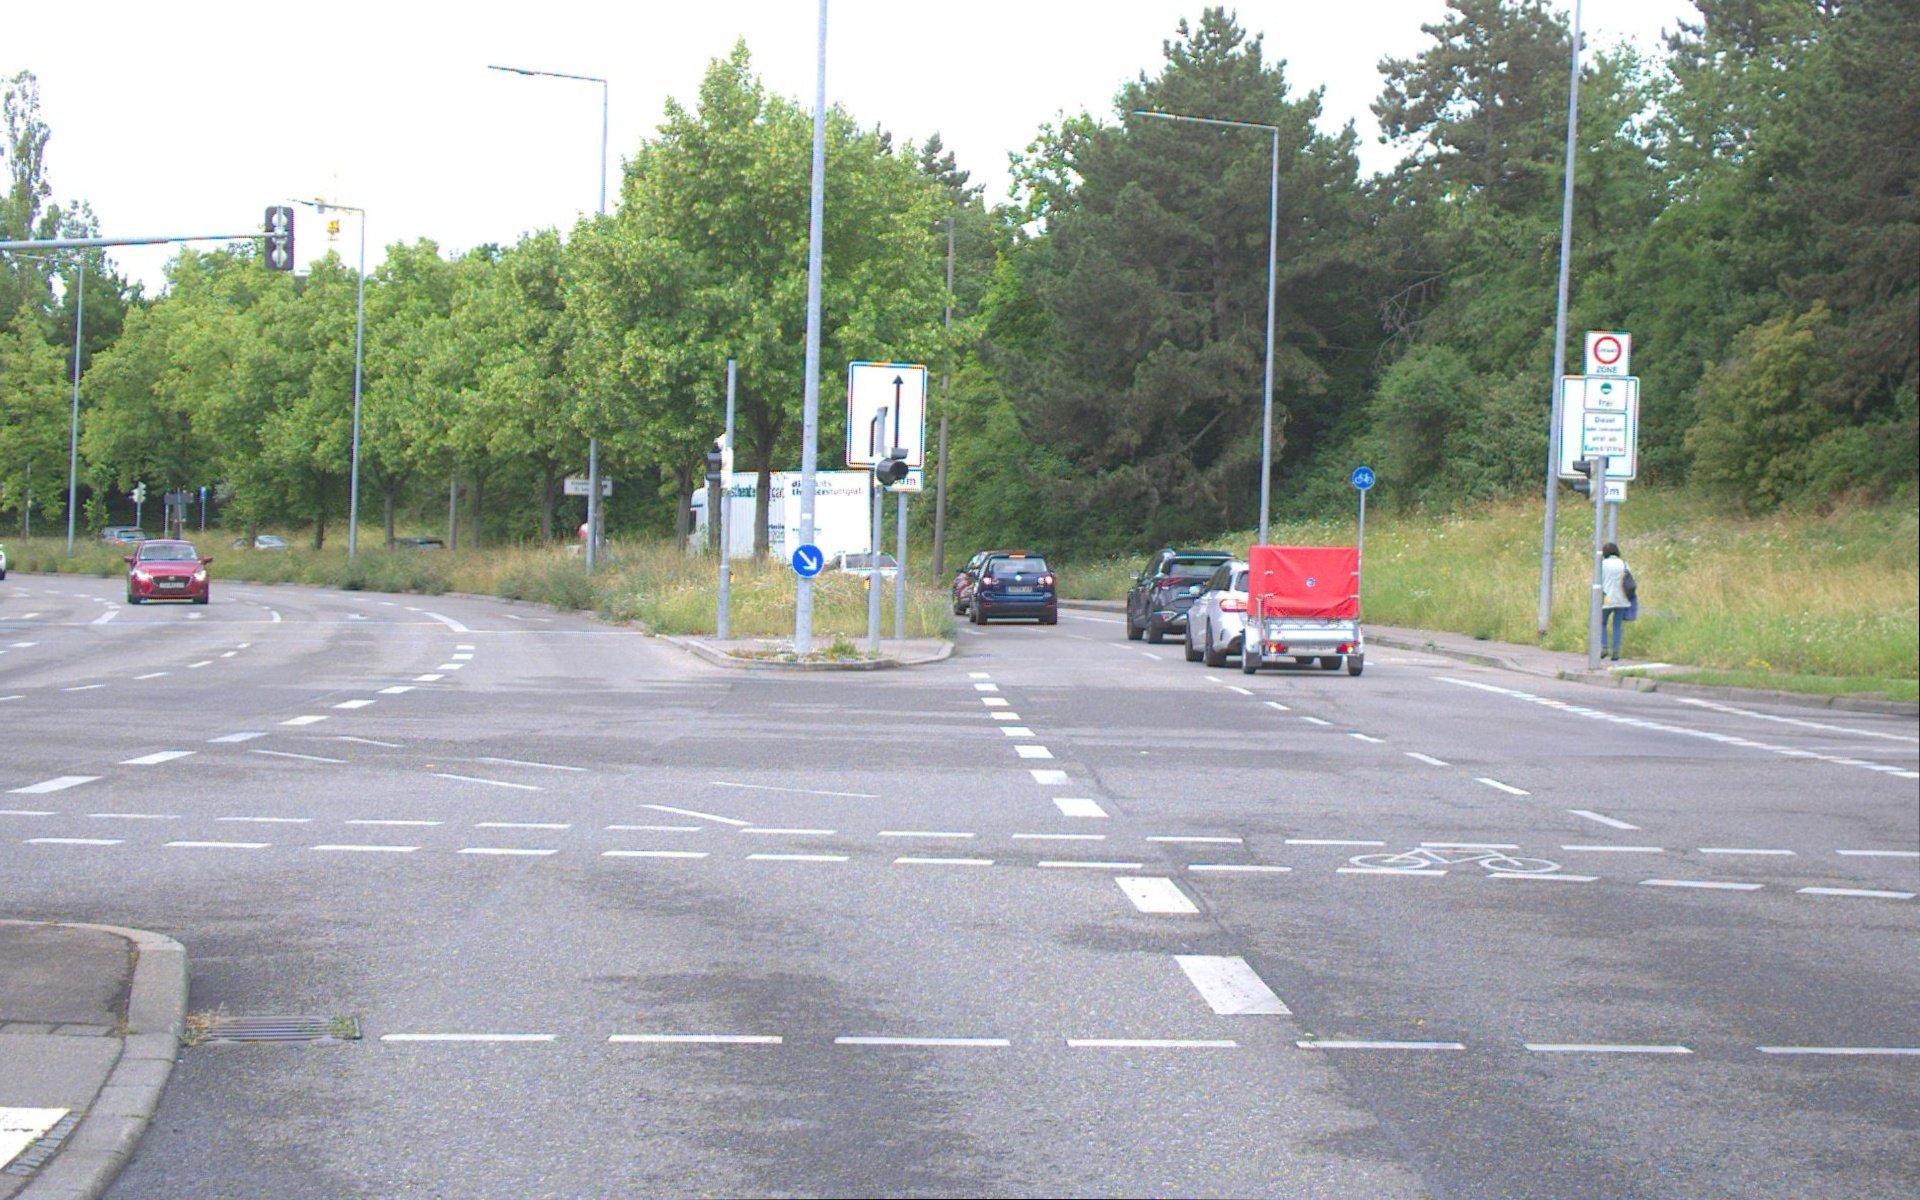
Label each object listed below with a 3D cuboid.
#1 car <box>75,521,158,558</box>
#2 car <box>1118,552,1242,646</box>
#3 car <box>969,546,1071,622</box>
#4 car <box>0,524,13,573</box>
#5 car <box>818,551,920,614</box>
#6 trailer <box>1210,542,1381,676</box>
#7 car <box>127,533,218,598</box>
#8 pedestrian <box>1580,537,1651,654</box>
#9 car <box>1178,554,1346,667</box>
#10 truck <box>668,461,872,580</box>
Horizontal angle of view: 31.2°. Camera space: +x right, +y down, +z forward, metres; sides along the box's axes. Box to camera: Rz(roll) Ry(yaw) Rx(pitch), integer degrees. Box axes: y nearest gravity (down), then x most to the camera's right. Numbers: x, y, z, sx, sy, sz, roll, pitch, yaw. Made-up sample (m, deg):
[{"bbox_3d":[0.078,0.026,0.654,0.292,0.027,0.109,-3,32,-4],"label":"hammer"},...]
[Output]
[{"bbox_3d":[-36.703,-2.648,149.568,1.779,1.541,4.023,0,2,-43],"label":"car"},{"bbox_3d":[3.816,-0.047,60.257,1.778,1.541,4.025,1,1,-2],"label":"car"},{"bbox_3d":[1.284,-0.367,74.697,1.777,1.541,4.026,1,1,-5],"label":"car"},{"bbox_3d":[-33.609,-1.763,117.401,1.828,1.623,4.427,0,1,-24],"label":"car"},{"bbox_3d":[-2.389,-0.468,89.337,1.777,1.541,4.026,0,1,-14],"label":"car"},{"bbox_3d":[4.239,0.086,43.799,1.764,1.610,3.044,1,1,-2],"label":"trailer"},{"bbox_3d":[-17.999,-0.803,78.488,1.780,1.438,4.427,0,1,-16],"label":"car"},{"bbox_3d":[9.251,-0.066,48.538,0.814,1.622,0.791,1,1,-1],"label":"pedestrian"},{"bbox_3d":[4.116,0.109,47.543,1.778,1.416,4.459,1,1,-2],"label":"car"},{"bbox_3d":[-5.798,-2.385,102.209,2.739,3.317,11.410,0,1,-21],"label":"truck"}]
